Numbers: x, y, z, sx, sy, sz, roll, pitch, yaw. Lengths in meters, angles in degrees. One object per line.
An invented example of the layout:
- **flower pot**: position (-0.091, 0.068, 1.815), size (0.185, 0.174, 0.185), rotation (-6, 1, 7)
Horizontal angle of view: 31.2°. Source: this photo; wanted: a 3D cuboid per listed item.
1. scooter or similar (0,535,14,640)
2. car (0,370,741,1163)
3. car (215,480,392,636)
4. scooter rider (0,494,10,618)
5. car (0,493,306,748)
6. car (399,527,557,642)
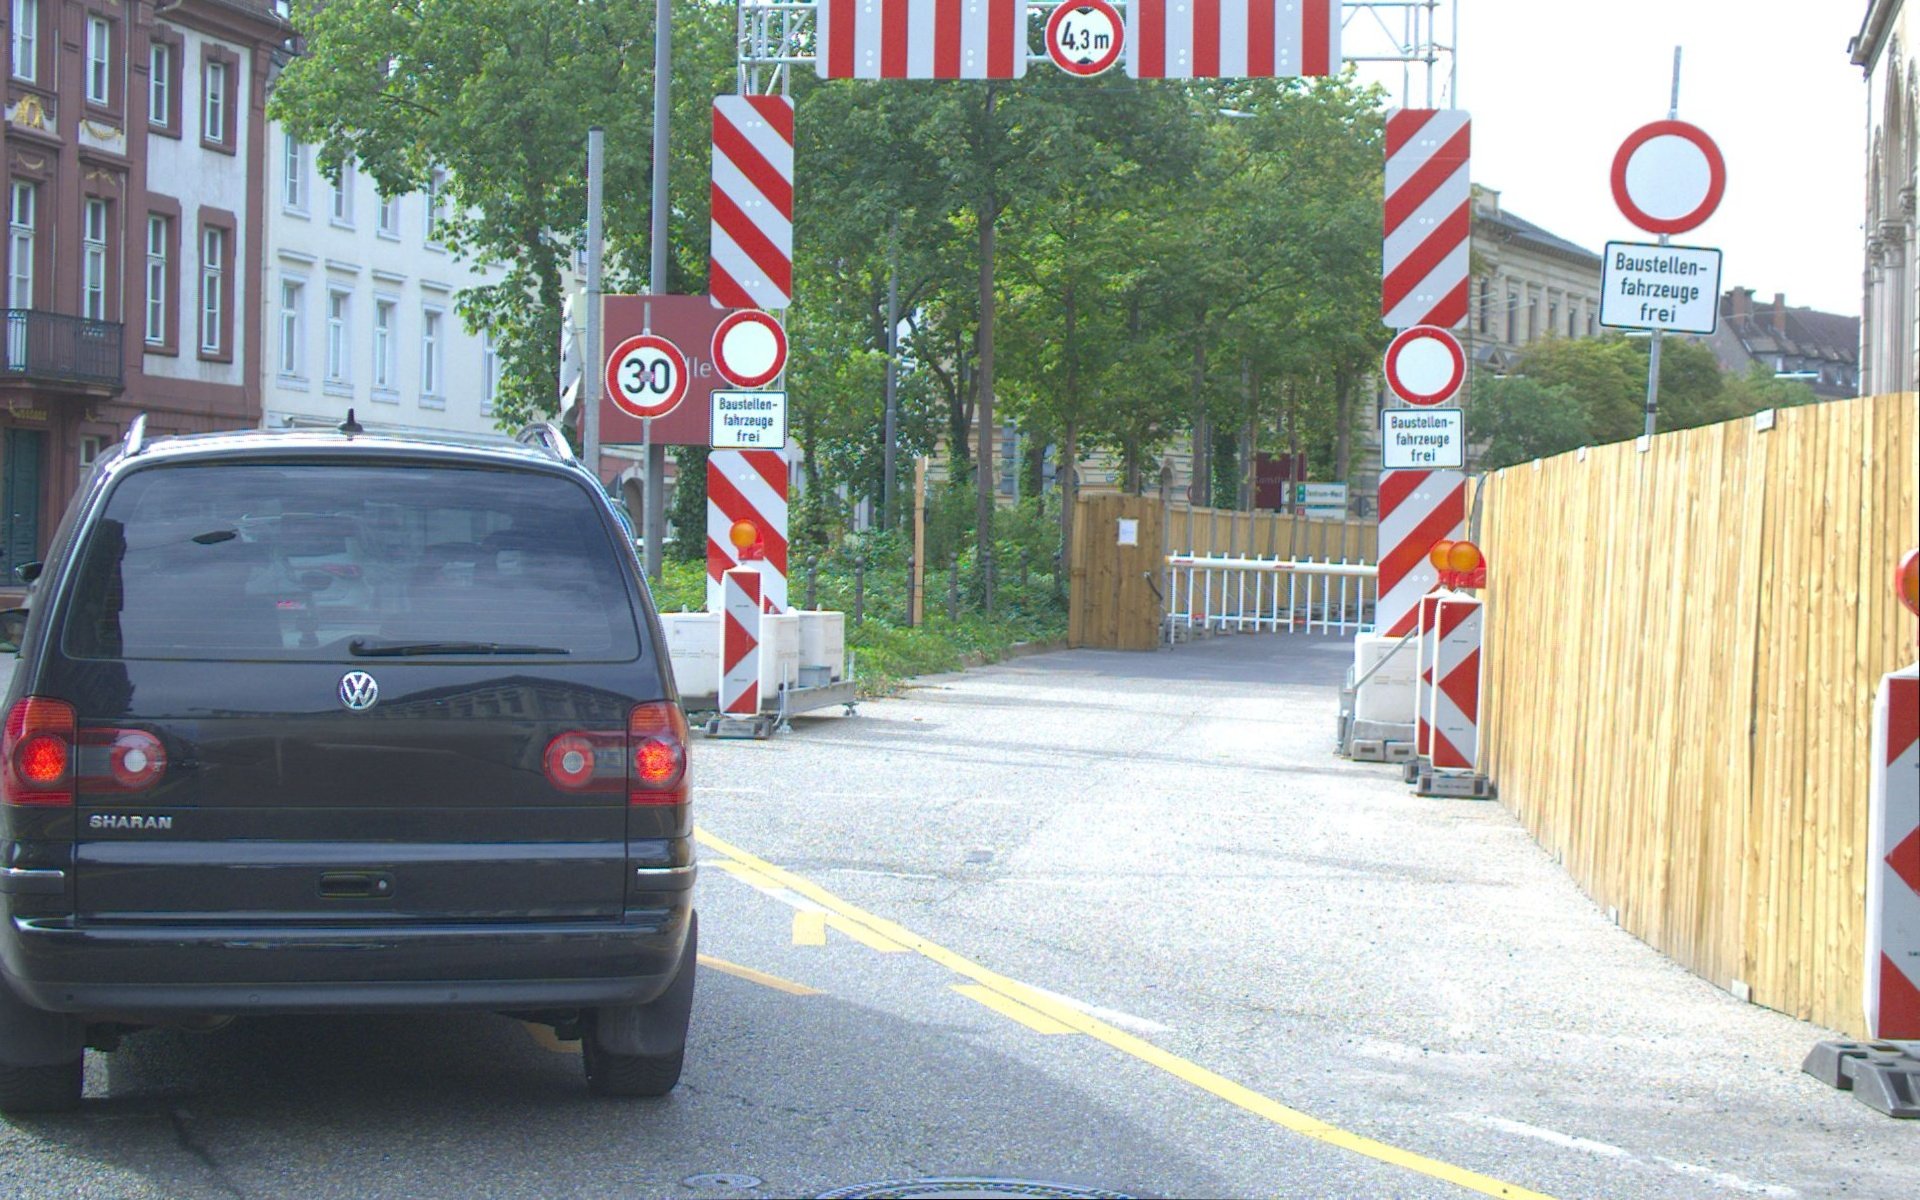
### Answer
- **scooter or similar**: position (-11.769, -0.153, 41.139), size (0.599, 1.251, 1.552), rotation (1, 1, -5)
- **car**: position (-1.821, 0.358, 9.888), size (1.789, 1.784, 4.104), rotation (1, 1, -12)
- **car**: position (-7.142, -0.458, 37.474), size (1.772, 1.580, 4.001), rotation (1, 1, -11)
- **scooter rider**: position (-11.750, -0.531, 41.149), size (0.599, 1.485, 0.679), rotation (1, 0, -5)
- **car**: position (-5.402, 0.091, 22.094), size (1.677, 1.464, 4.104), rotation (1, 1, -20)
- **car**: position (-6.991, -0.235, 50.203), size (1.773, 1.580, 4.000), rotation (1, 1, -1)
